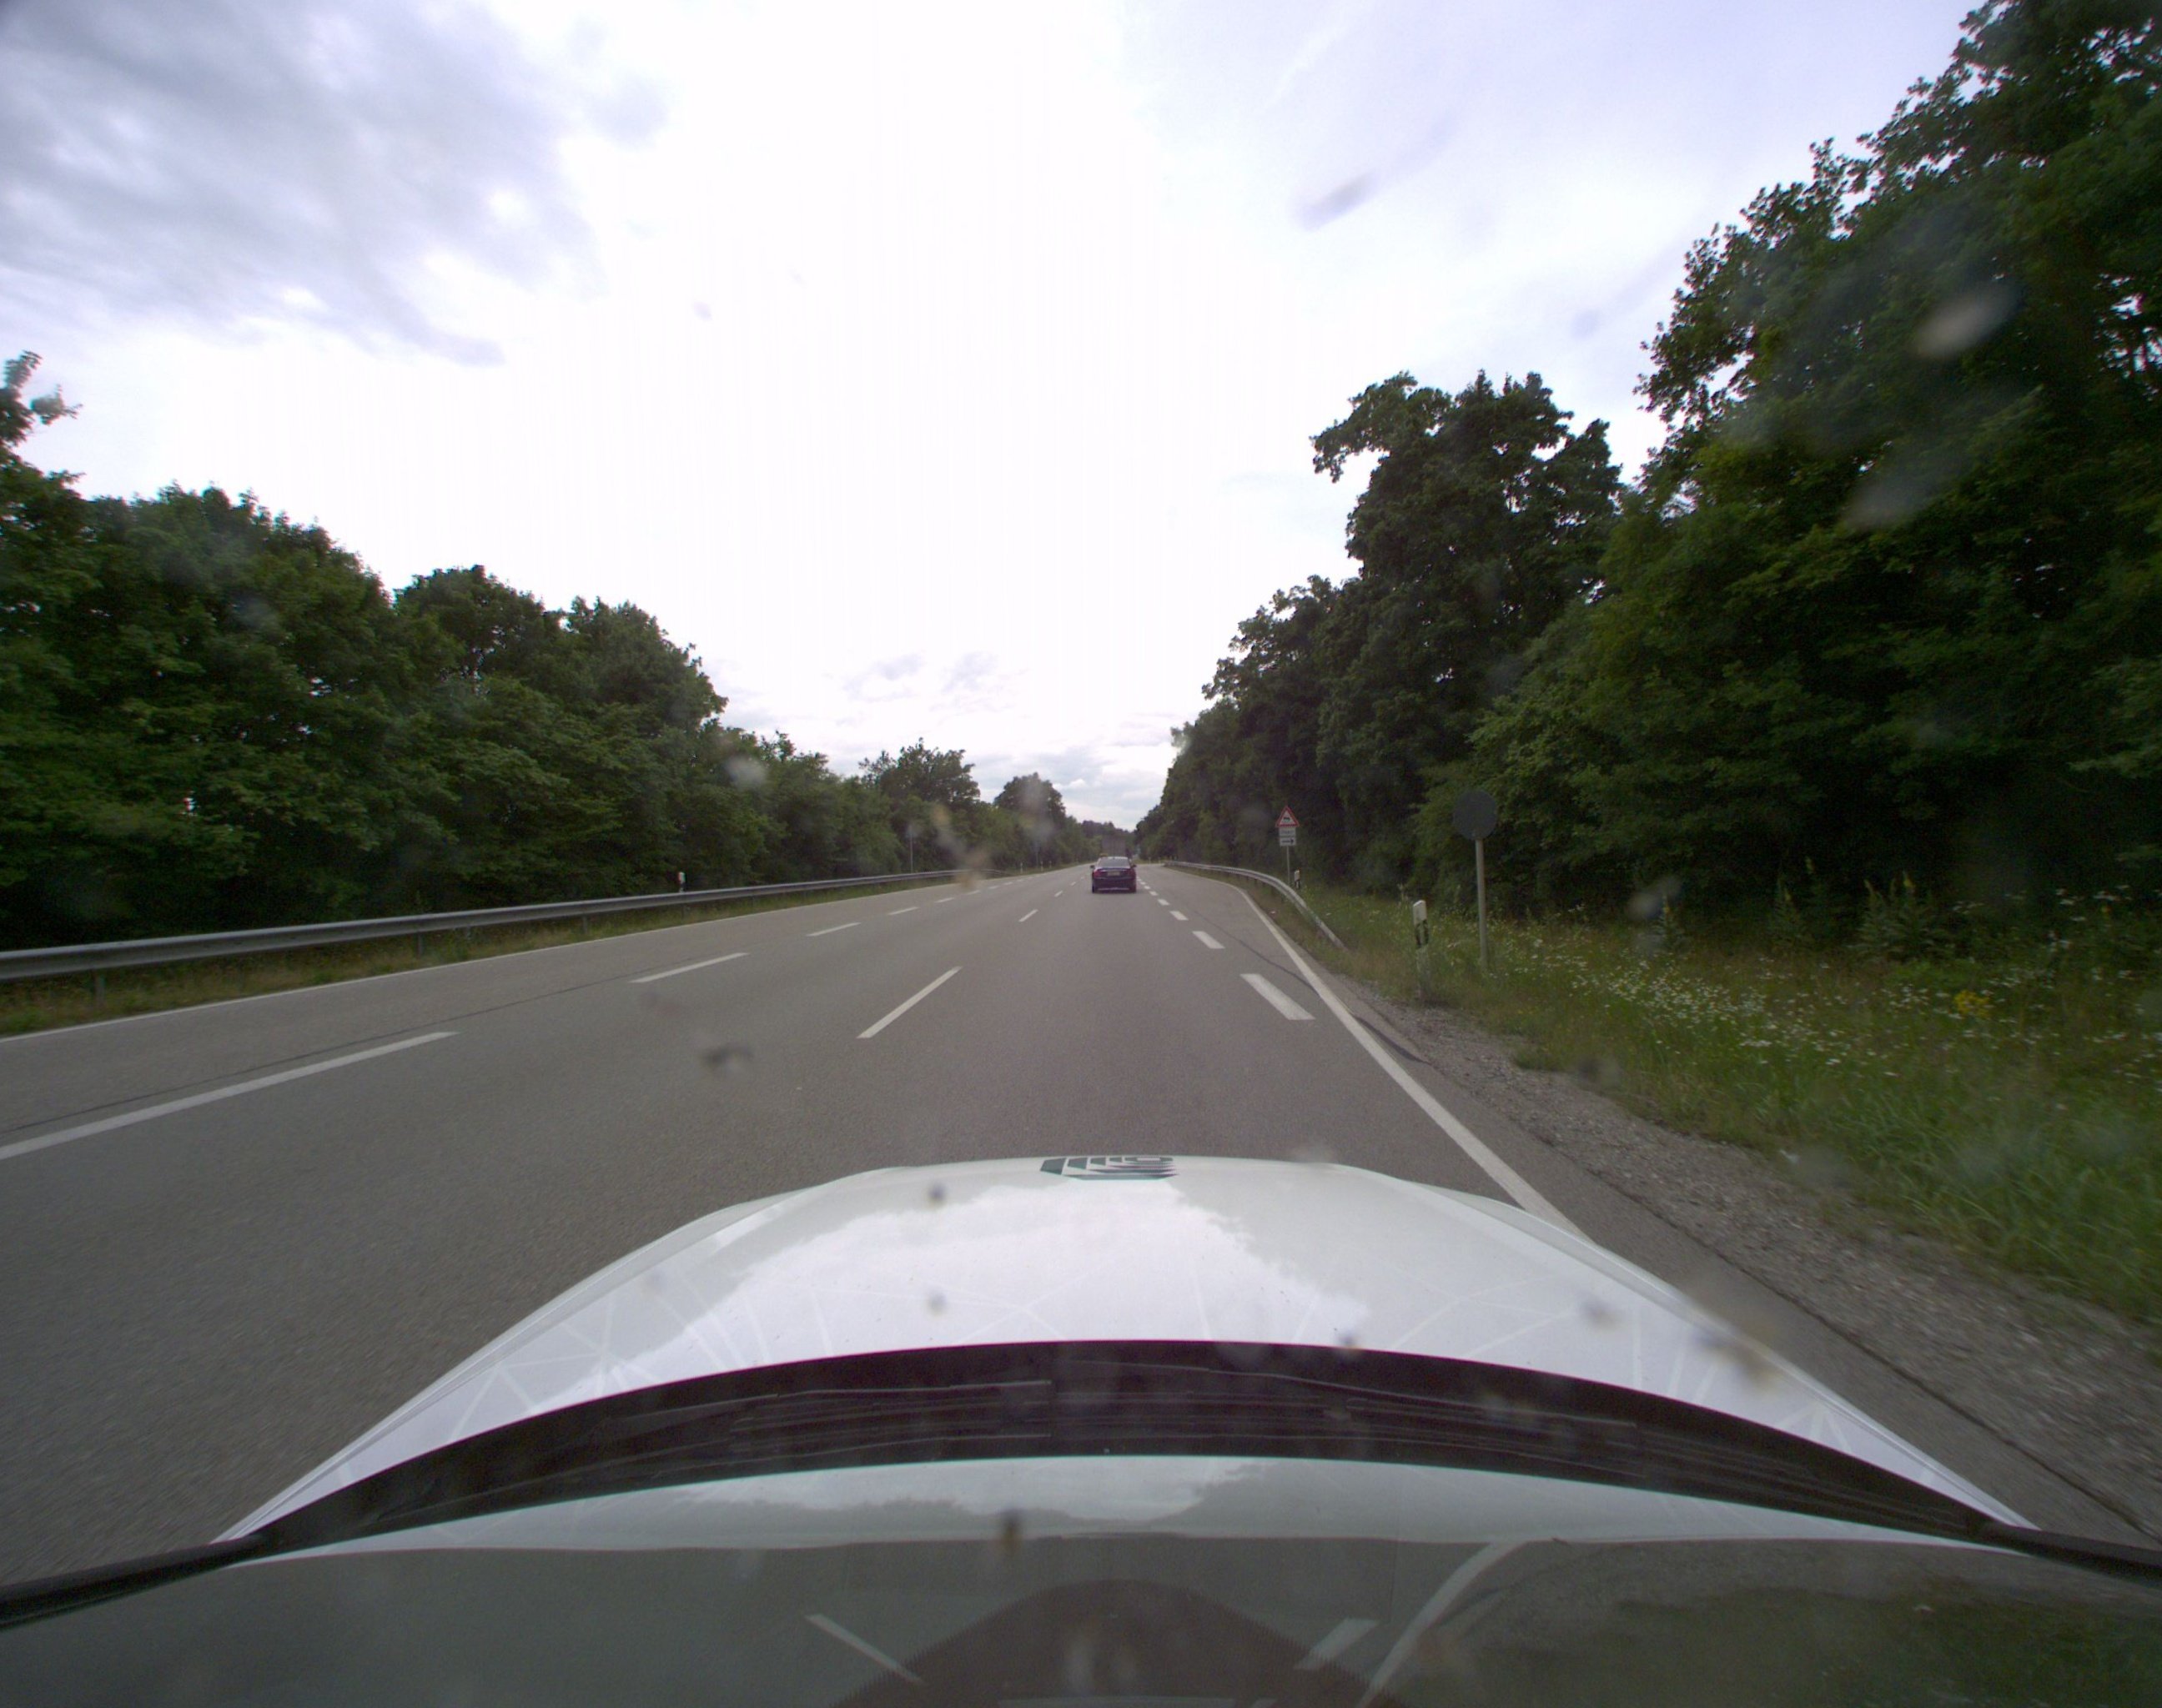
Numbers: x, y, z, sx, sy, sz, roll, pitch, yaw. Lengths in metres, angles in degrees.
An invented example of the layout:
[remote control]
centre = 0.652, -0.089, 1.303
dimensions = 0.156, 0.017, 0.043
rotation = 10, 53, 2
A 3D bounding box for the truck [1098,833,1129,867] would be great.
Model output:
[truck]
centre = 3.611, -0.419, 92.579
dimensions = 3.269, 3.611, 11.403
rotation = -1, 0, 1

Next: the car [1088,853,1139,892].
[car]
centre = 1.300, 0.742, 34.258
dimensions = 1.787, 1.552, 3.996
rotation = -1, 0, -3
